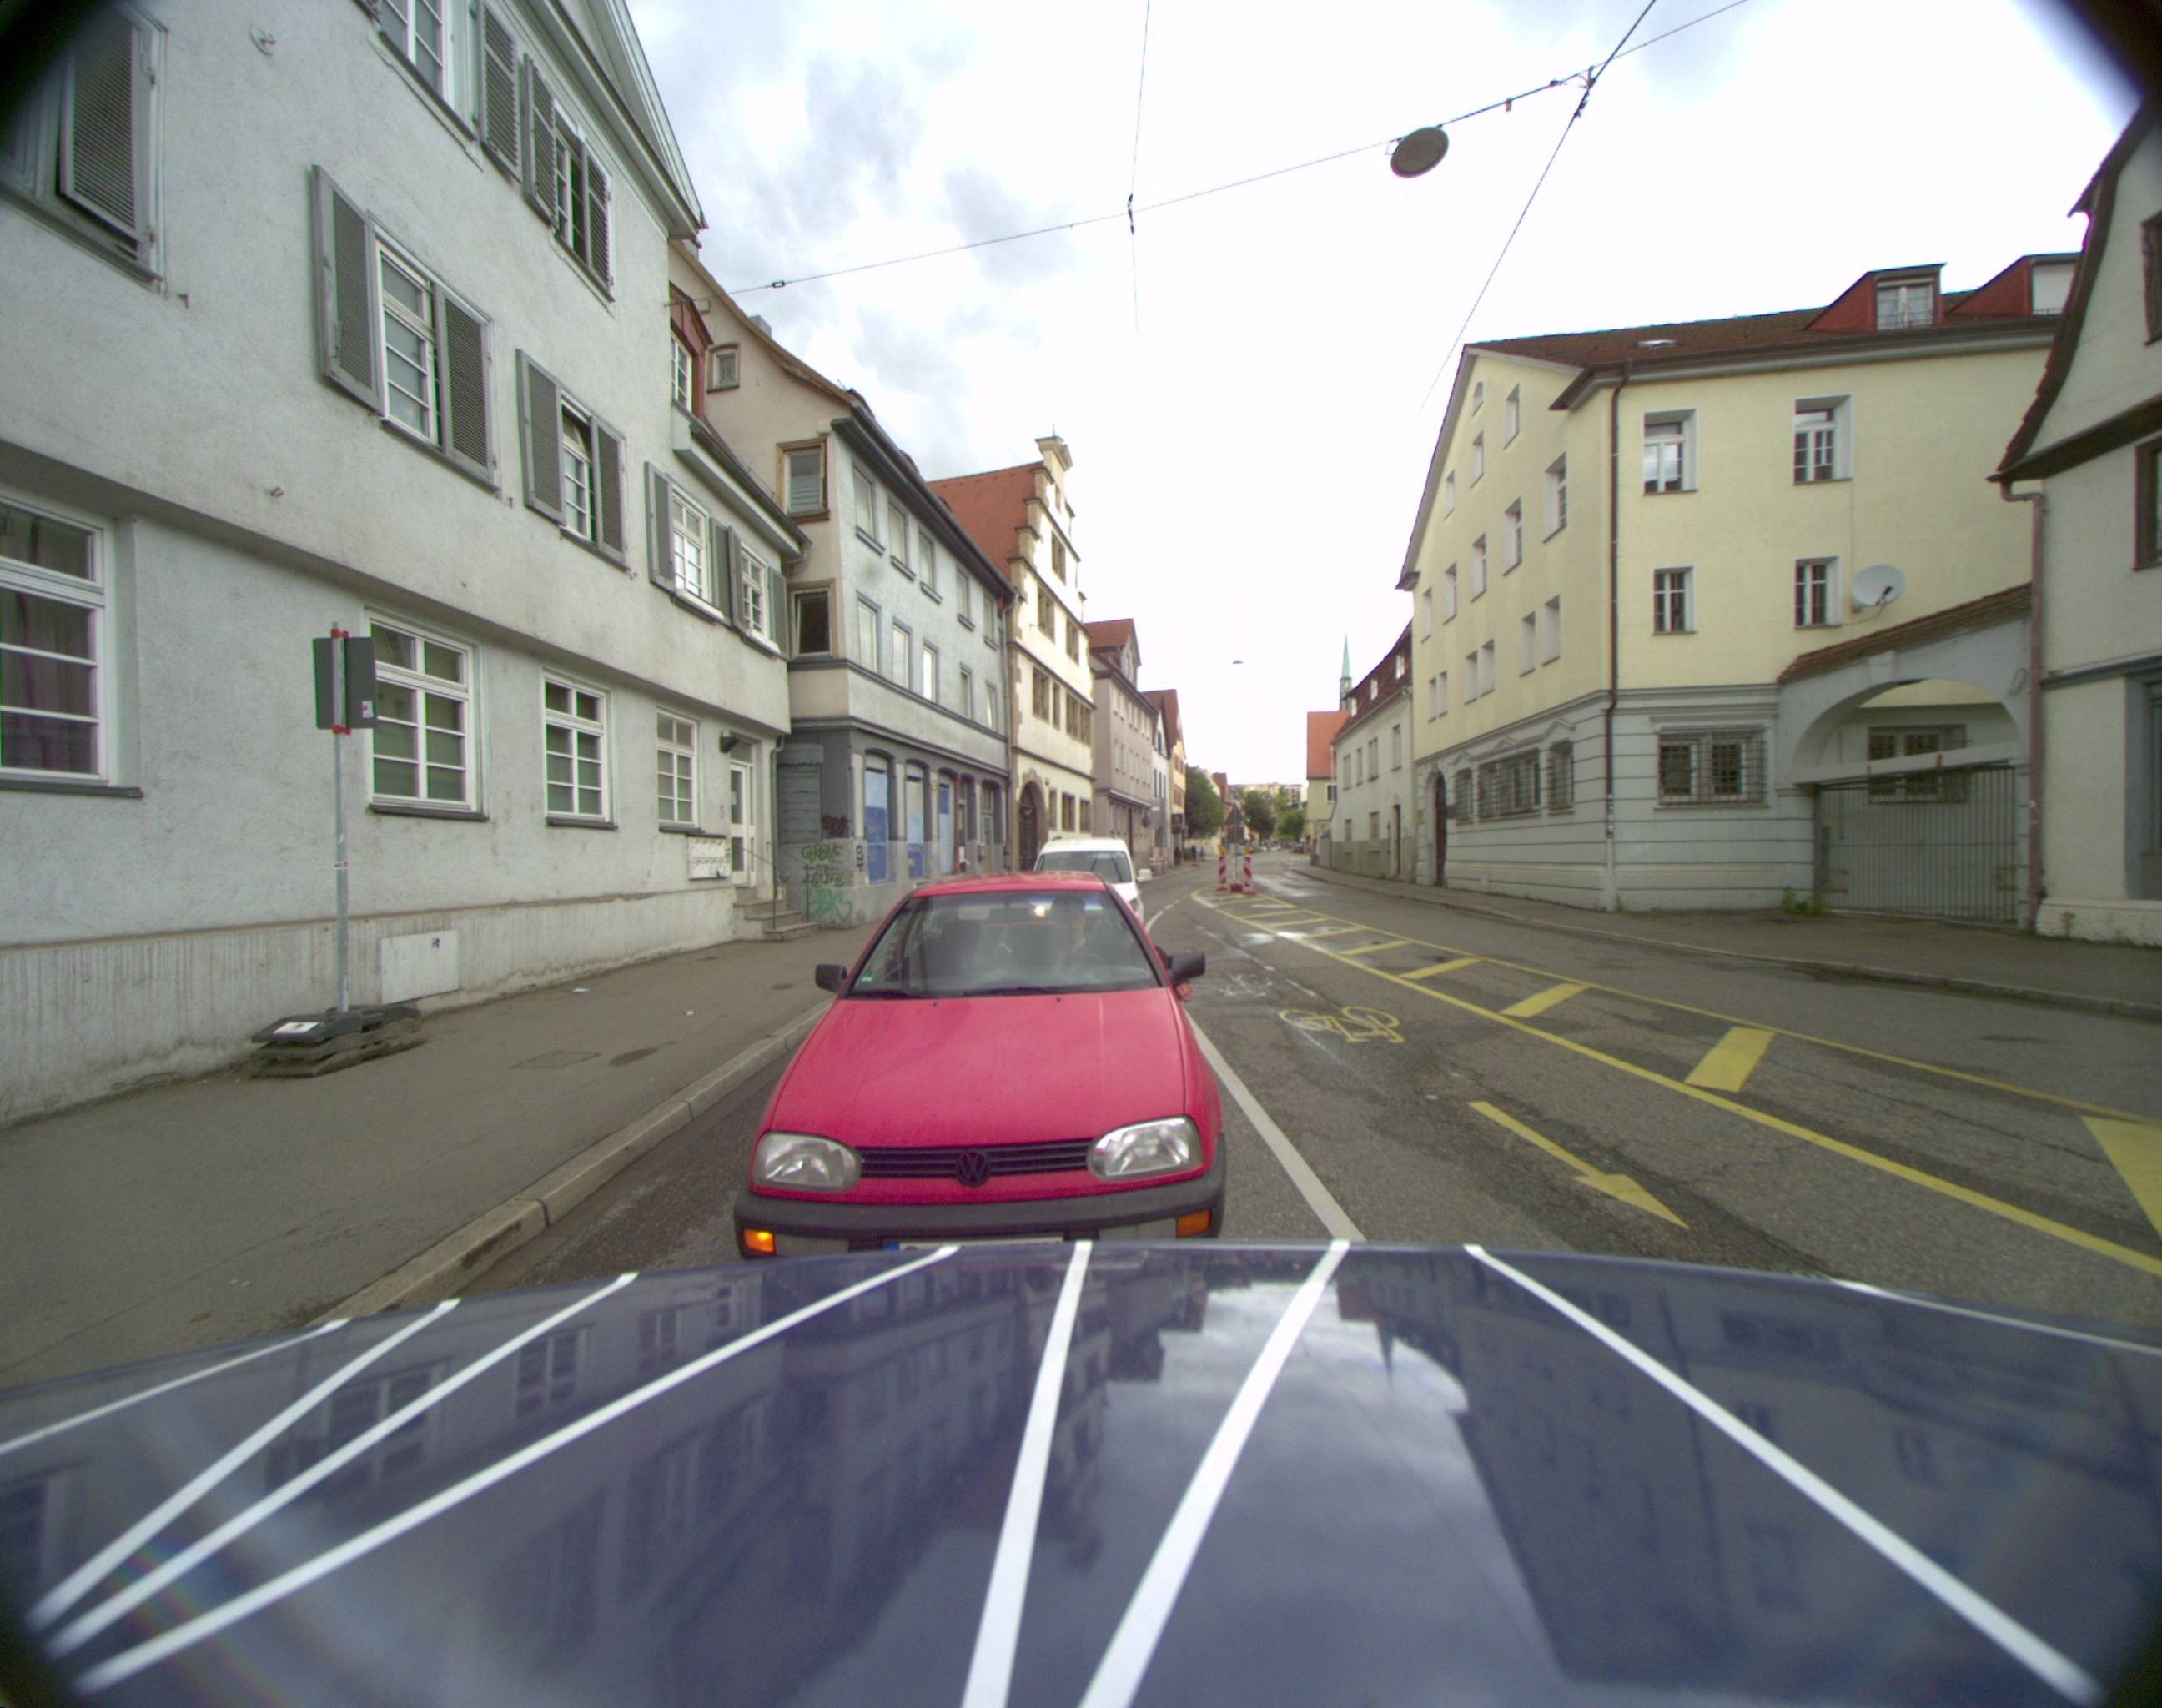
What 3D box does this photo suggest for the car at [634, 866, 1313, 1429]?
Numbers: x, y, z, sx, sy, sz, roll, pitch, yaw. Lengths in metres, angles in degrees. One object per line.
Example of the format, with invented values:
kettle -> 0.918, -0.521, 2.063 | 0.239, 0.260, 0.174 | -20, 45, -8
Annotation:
car -> -0.315, 0.821, 4.056 | 1.793, 1.417, 3.999 | -2, 0, -1

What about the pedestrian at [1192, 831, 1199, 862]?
pedestrian -> 9.595, -0.619, 63.608 | 0.495, 2.513, 0.746 | -1, 1, 12

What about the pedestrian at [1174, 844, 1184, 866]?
pedestrian -> 7.306, 0.090, 56.607 | 0.725, 1.604, 0.649 | 0, 0, 12

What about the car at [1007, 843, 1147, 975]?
car -> 0.035, 0.699, 12.158 | 1.814, 1.695, 4.256 | -1, 1, 2
